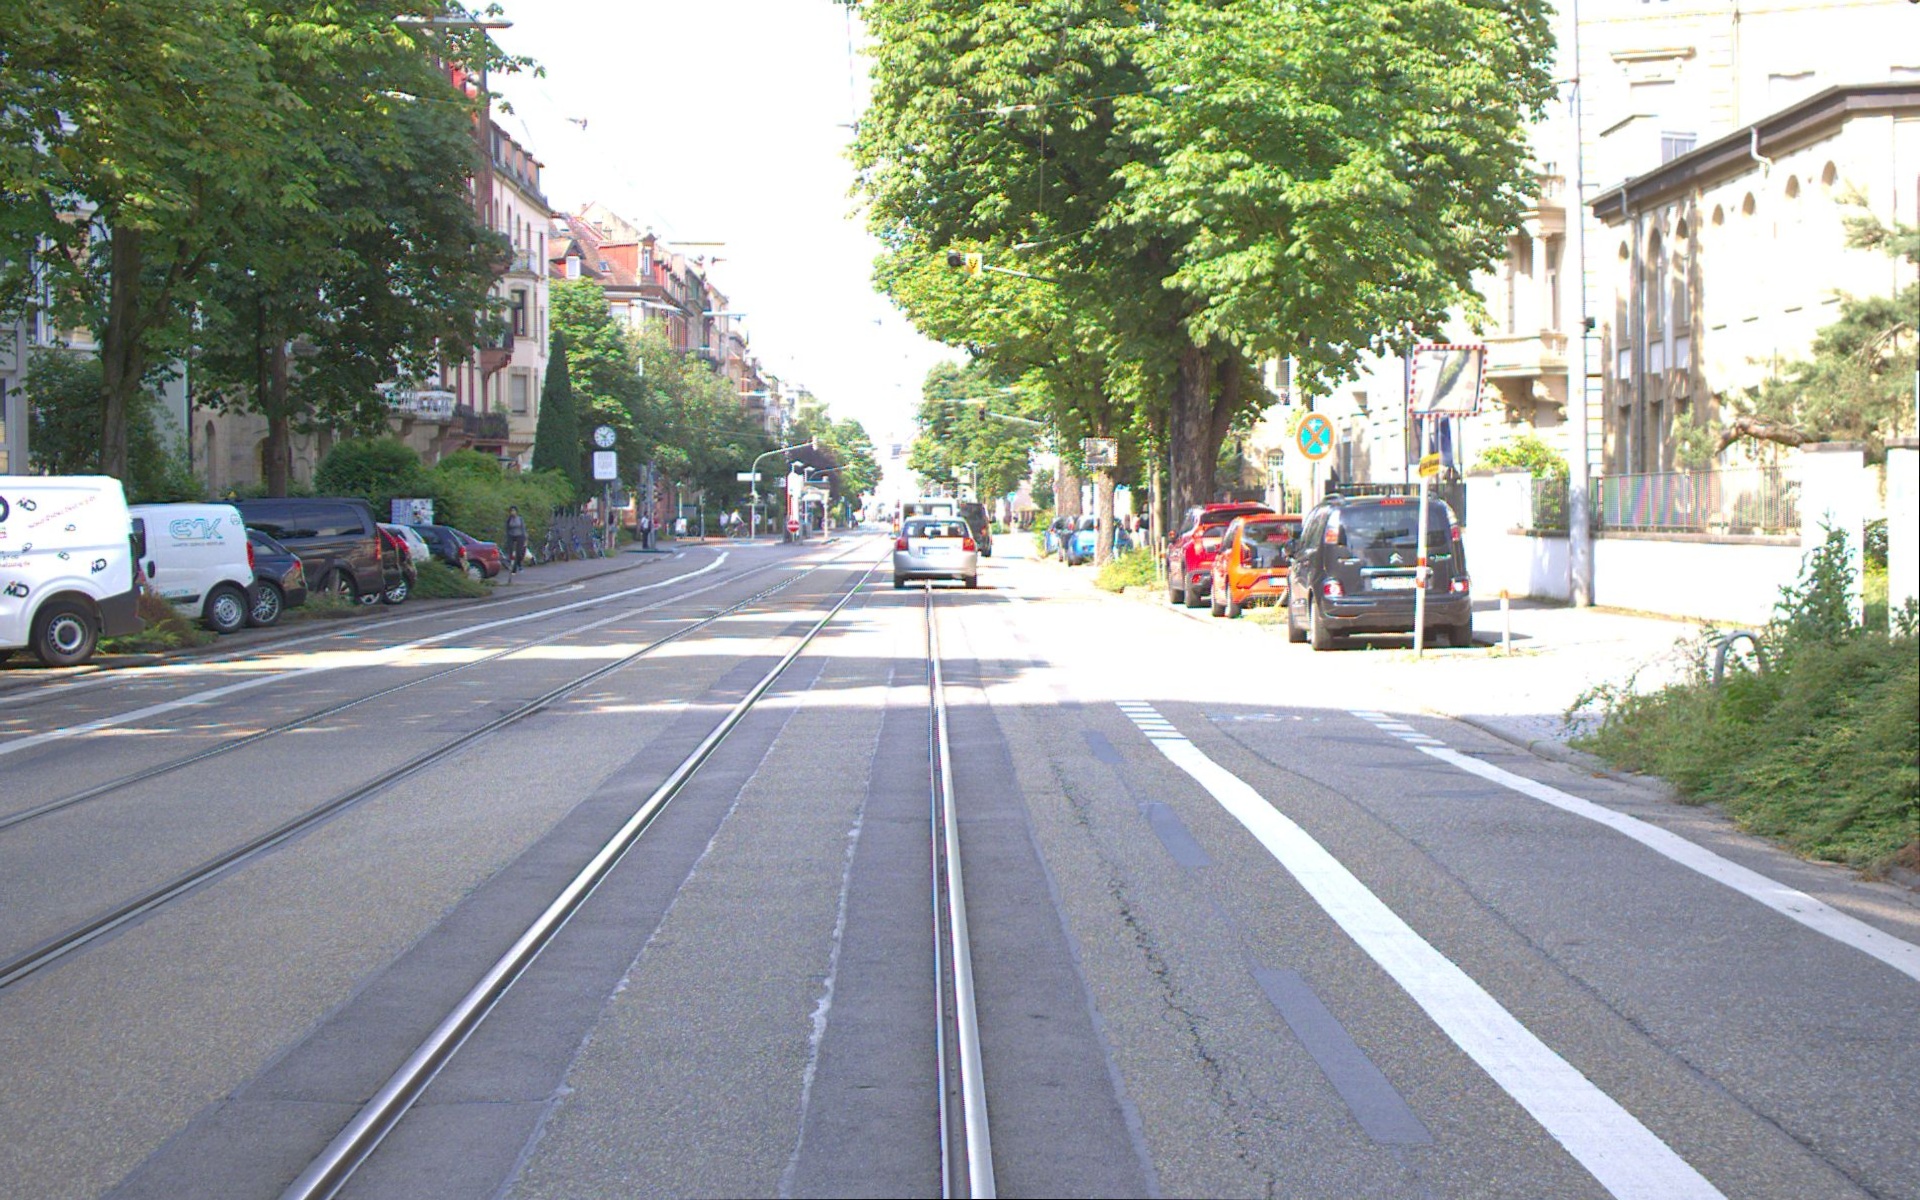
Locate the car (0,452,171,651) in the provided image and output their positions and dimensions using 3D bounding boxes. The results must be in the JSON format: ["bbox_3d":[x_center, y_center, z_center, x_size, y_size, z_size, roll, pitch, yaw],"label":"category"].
[{"bbox_3d":[-10.443,-0.425,34.189,4.629,1.905,1.931,-5,3,-42],"label":"car"}]

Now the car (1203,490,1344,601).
[{"bbox_3d":[4.409,-0.766,48.759,1.667,1.481,3.279,-1,1,0],"label":"car"}]

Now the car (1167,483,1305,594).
[{"bbox_3d":[4.439,-0.981,55.796,1.960,1.700,4.000,1,1,1],"label":"car"}]

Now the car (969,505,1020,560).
[{"bbox_3d":[1.176,-2.325,118.599,1.621,1.842,3.565,1,1,-1],"label":"car"}]

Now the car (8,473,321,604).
[{"bbox_3d":[-10.898,-0.825,47.245,1.882,1.706,3.749,1,1,44],"label":"car"}]

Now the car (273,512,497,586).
[{"bbox_3d":[-10.680,-0.936,63.952,3.775,1.302,1.638,1,1,-39],"label":"car"}]

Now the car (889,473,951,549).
[{"bbox_3d":[-1.102,-2.410,93.762,1.621,1.993,3.565,1,1,-1],"label":"car"}]

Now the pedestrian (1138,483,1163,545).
[{"bbox_3d":[6.228,-2.811,112.286,0.760,2.007,0.764,1,0,1],"label":"pedestrian"}]

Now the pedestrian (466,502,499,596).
[{"bbox_3d":[-10.312,-1.105,74.279,0.616,2.007,0.501,1,0,-1],"label":"pedestrian"}]

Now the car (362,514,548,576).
[{"bbox_3d":[-11.208,-1.208,76.373,3.775,1.302,1.638,1,1,-39],"label":"car"}]

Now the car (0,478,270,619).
[{"bbox_3d":[-10.949,-0.640,43.946,1.882,1.706,3.749,1,1,44],"label":"car"}]

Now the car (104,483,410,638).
[{"bbox_3d":[-10.846,-0.596,53.234,1.882,2.074,4.193,4,0,44],"label":"car"}]

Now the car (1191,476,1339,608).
[{"bbox_3d":[4.281,-0.853,48.604,1.674,1.605,3.585,-2,4,-1],"label":"car"}]

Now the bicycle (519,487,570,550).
[{"bbox_3d":[-11.630,-2.273,96.316,0.938,1.740,2.284,1,1,5],"label":"bicycle"}]

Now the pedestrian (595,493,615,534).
[{"bbox_3d":[-17.565,-4.279,170.206,0.884,2.007,0.788,1,0,-9],"label":"pedestrian"}]

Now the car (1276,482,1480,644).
[{"bbox_3d":[4.461,-0.426,37.129,1.674,1.606,3.585,-2,2,-1],"label":"car"}]

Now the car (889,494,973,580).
[{"bbox_3d":[-0.582,-1.256,69.362,1.621,1.678,3.565,1,1,-1],"label":"car"}]
